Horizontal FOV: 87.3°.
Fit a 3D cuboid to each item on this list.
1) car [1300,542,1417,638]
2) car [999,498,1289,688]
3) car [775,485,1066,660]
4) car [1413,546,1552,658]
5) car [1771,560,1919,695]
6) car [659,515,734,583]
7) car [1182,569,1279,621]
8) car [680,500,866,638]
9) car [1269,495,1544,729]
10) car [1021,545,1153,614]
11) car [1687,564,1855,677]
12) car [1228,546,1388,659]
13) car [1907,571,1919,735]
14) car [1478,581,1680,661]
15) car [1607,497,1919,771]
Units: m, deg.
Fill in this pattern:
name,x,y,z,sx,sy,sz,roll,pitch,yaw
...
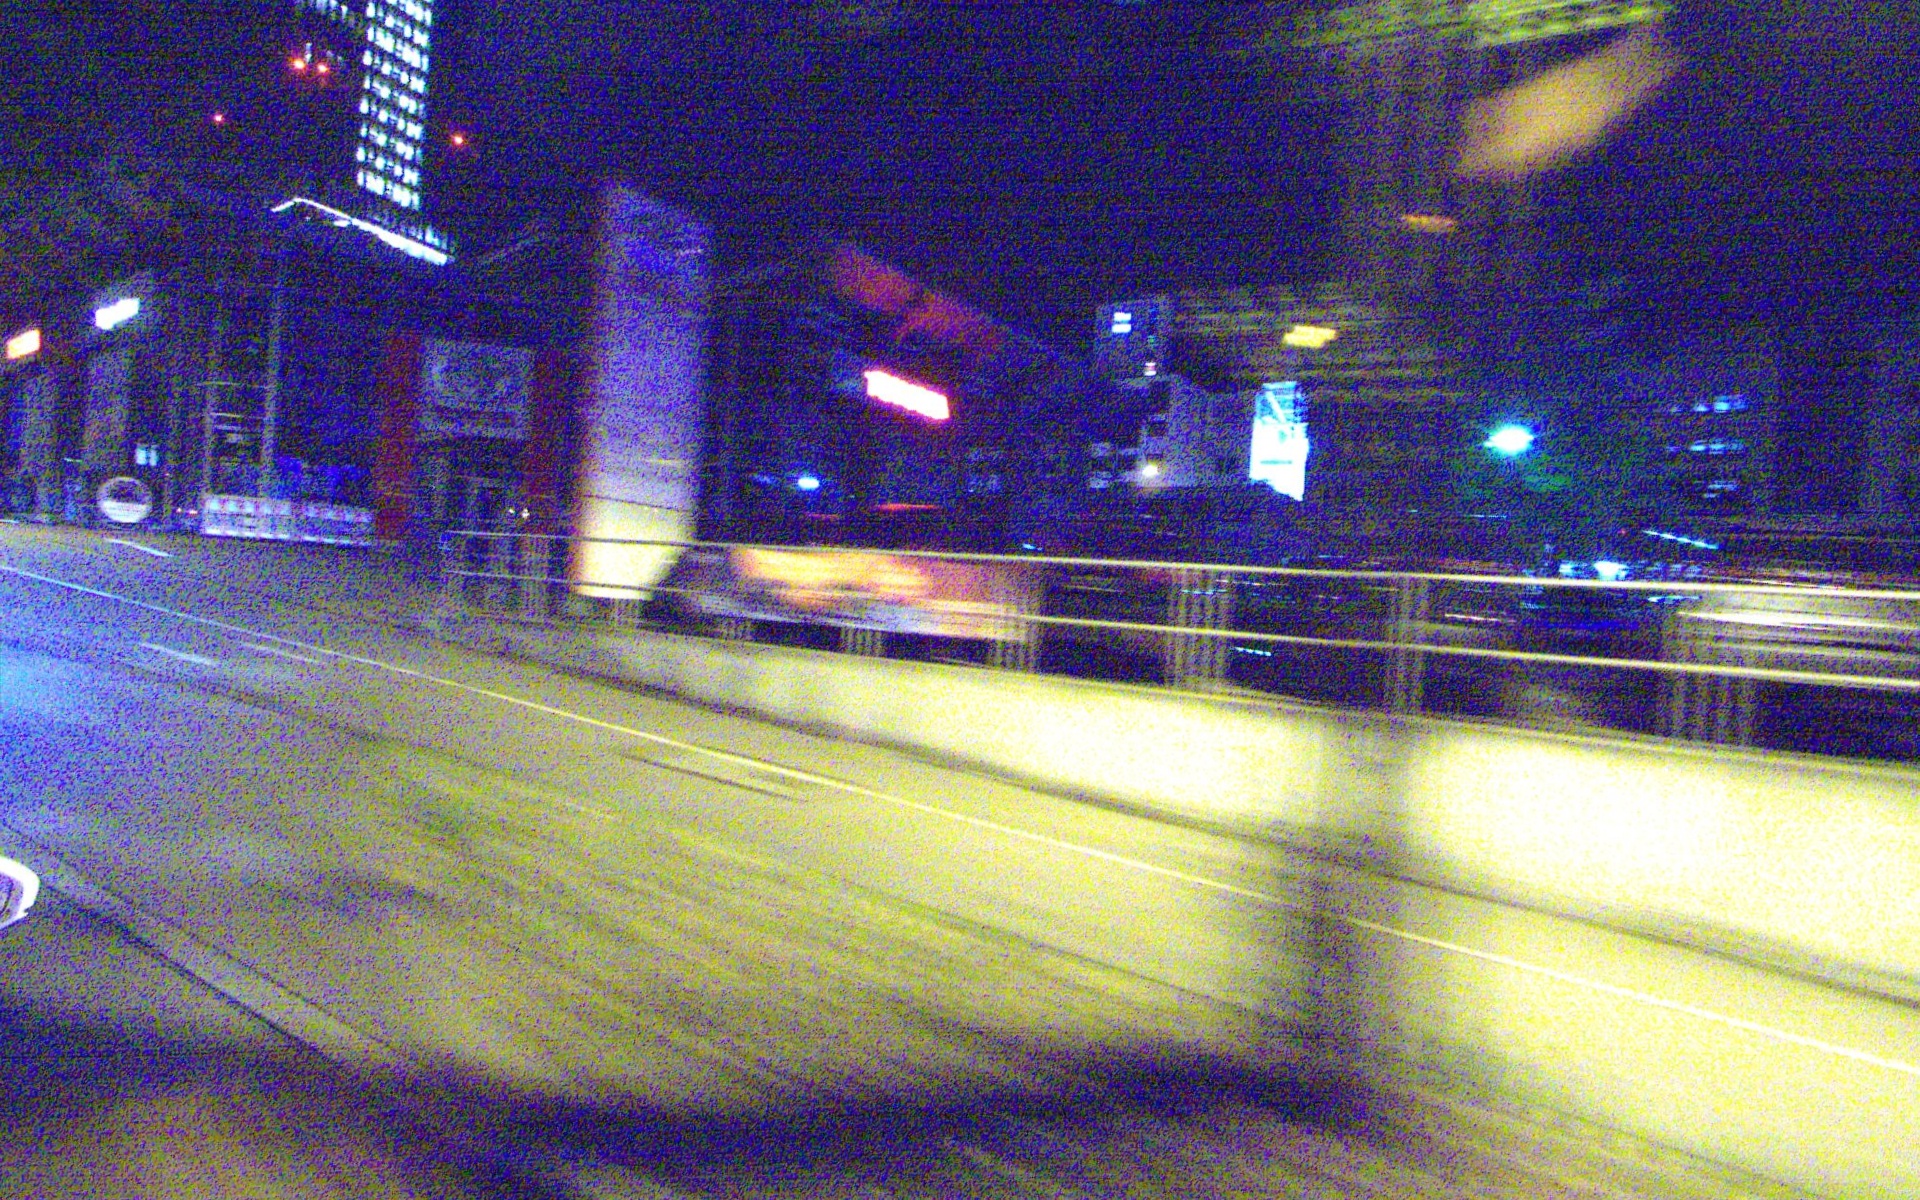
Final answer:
name,x,y,z,sx,sy,sz,roll,pitch,yaw
car,9.475,-0.154,23.709,1.965,1.935,4.582,5,1,28
car,2.035,-0.044,10.186,1.712,1.508,3.728,5,1,29
car,-0.275,-0.267,11.363,1.696,1.591,3.566,5,1,26
car,9.663,0.015,18.441,1.723,1.749,4.356,5,3,33
car,13.768,0.385,15.183,1.807,1.755,3.984,5,3,32
car,-6.878,-1.376,26.366,1.706,1.548,3.769,3,4,-14
car,9.451,-0.138,34.980,1.779,1.588,3.980,5,2,37
car,-2.341,-0.398,13.525,1.707,1.510,3.840,3,1,0
car,4.122,0.057,9.022,1.750,1.608,3.748,4,2,29
car,3.414,-0.498,26.388,1.837,1.509,3.987,5,1,32
car,15.929,0.392,19.984,1.722,1.920,3.813,5,2,27
car,6.310,0.047,17.948,1.789,1.712,3.987,5,2,31
car,8.274,0.390,6.839,1.793,1.542,4.120,4,0,32
car,18.305,0.542,30.157,2.151,1.996,5.230,5,1,-8
car,6.215,0.224,7.916,1.710,1.592,3.987,5,1,32
